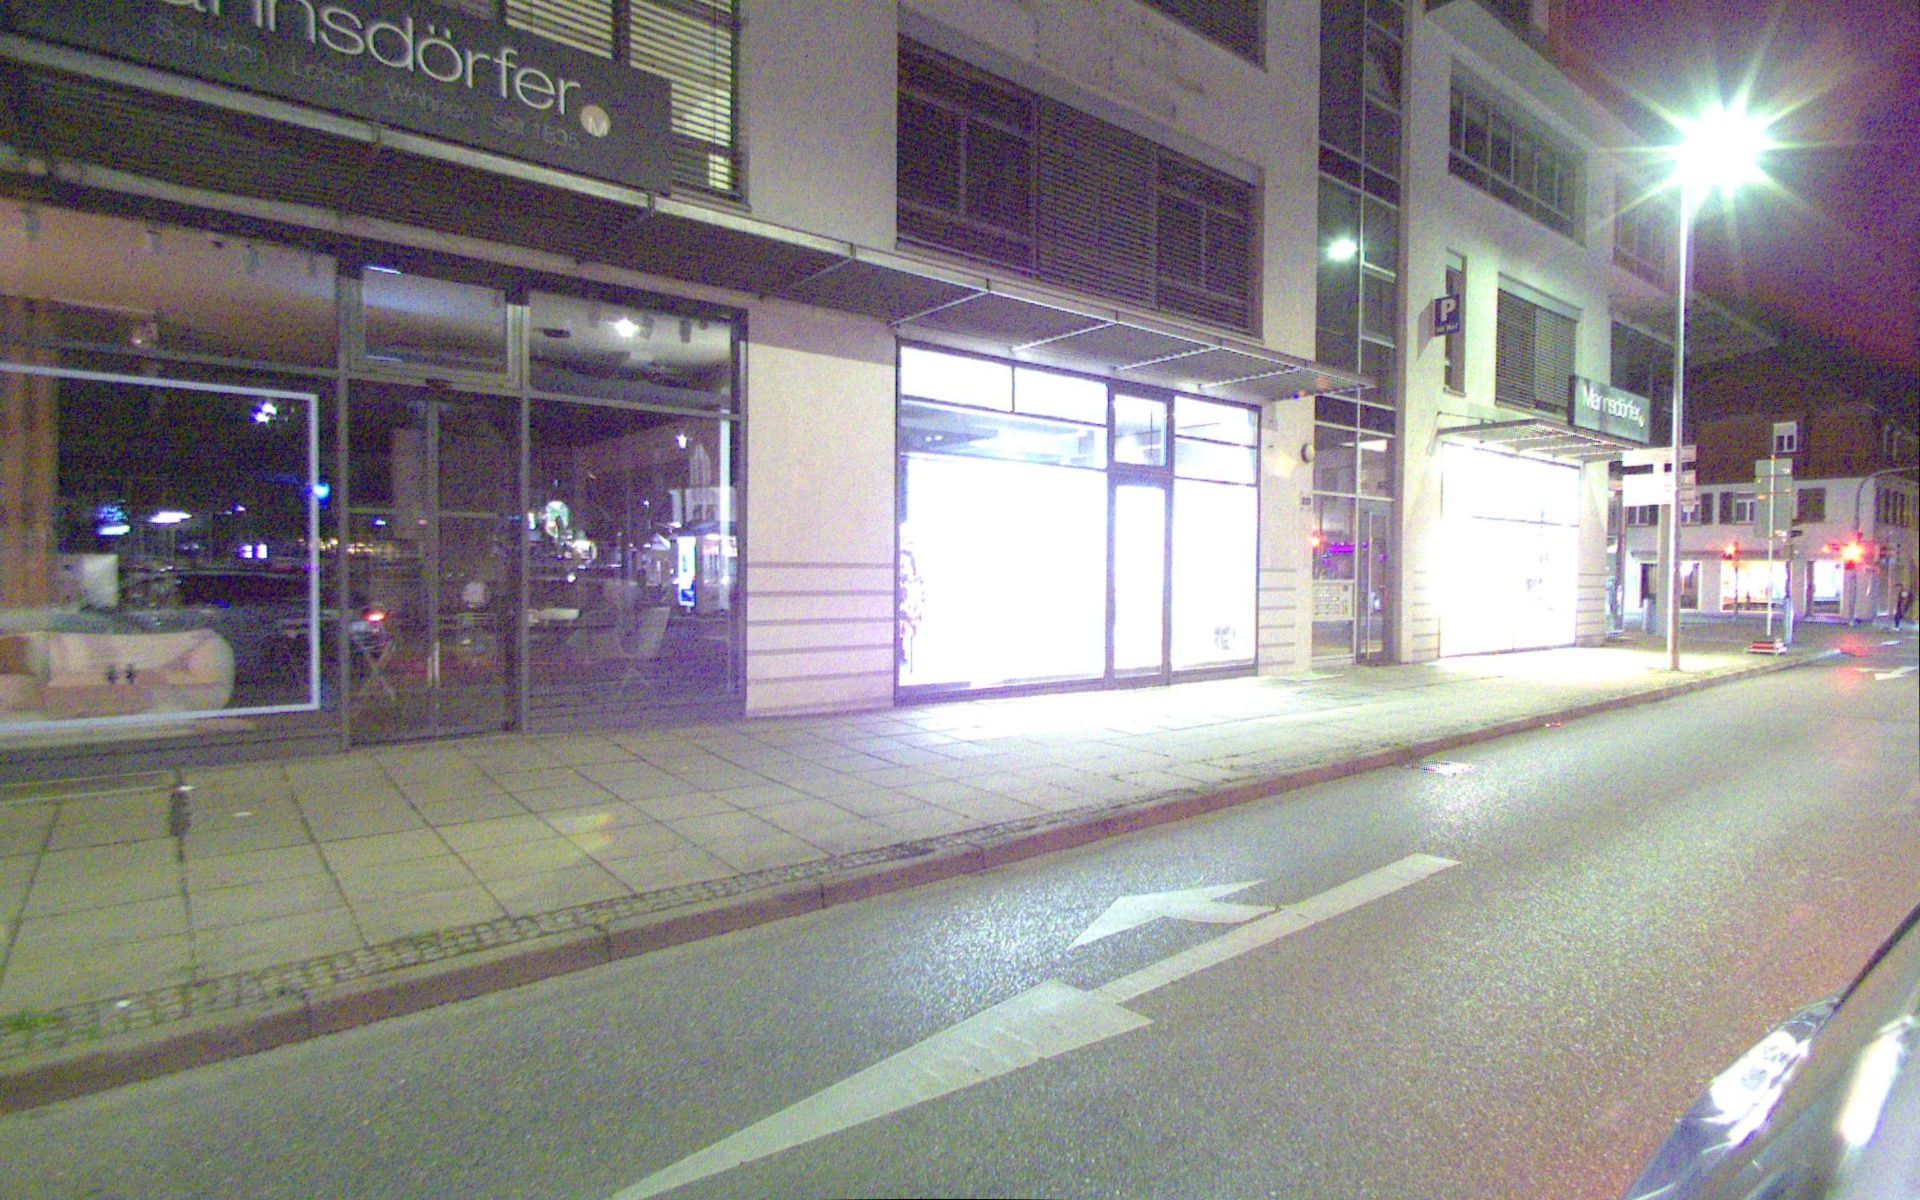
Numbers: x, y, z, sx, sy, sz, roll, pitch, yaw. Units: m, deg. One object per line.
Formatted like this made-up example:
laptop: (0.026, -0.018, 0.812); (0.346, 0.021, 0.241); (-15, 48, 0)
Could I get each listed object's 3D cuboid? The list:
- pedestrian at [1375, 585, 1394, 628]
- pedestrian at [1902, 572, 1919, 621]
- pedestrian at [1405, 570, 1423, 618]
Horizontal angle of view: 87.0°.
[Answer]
pedestrian: (17.334, 0.277, 41.334); (0.557, 1.738, 0.523); (0, 0, -43)
pedestrian: (35.284, -0.123, 37.170); (0.635, 1.755, 0.877); (0, 2, -37)
pedestrian: (16.173, -0.208, 36.071); (0.478, 1.708, 0.407); (0, 0, -36)
